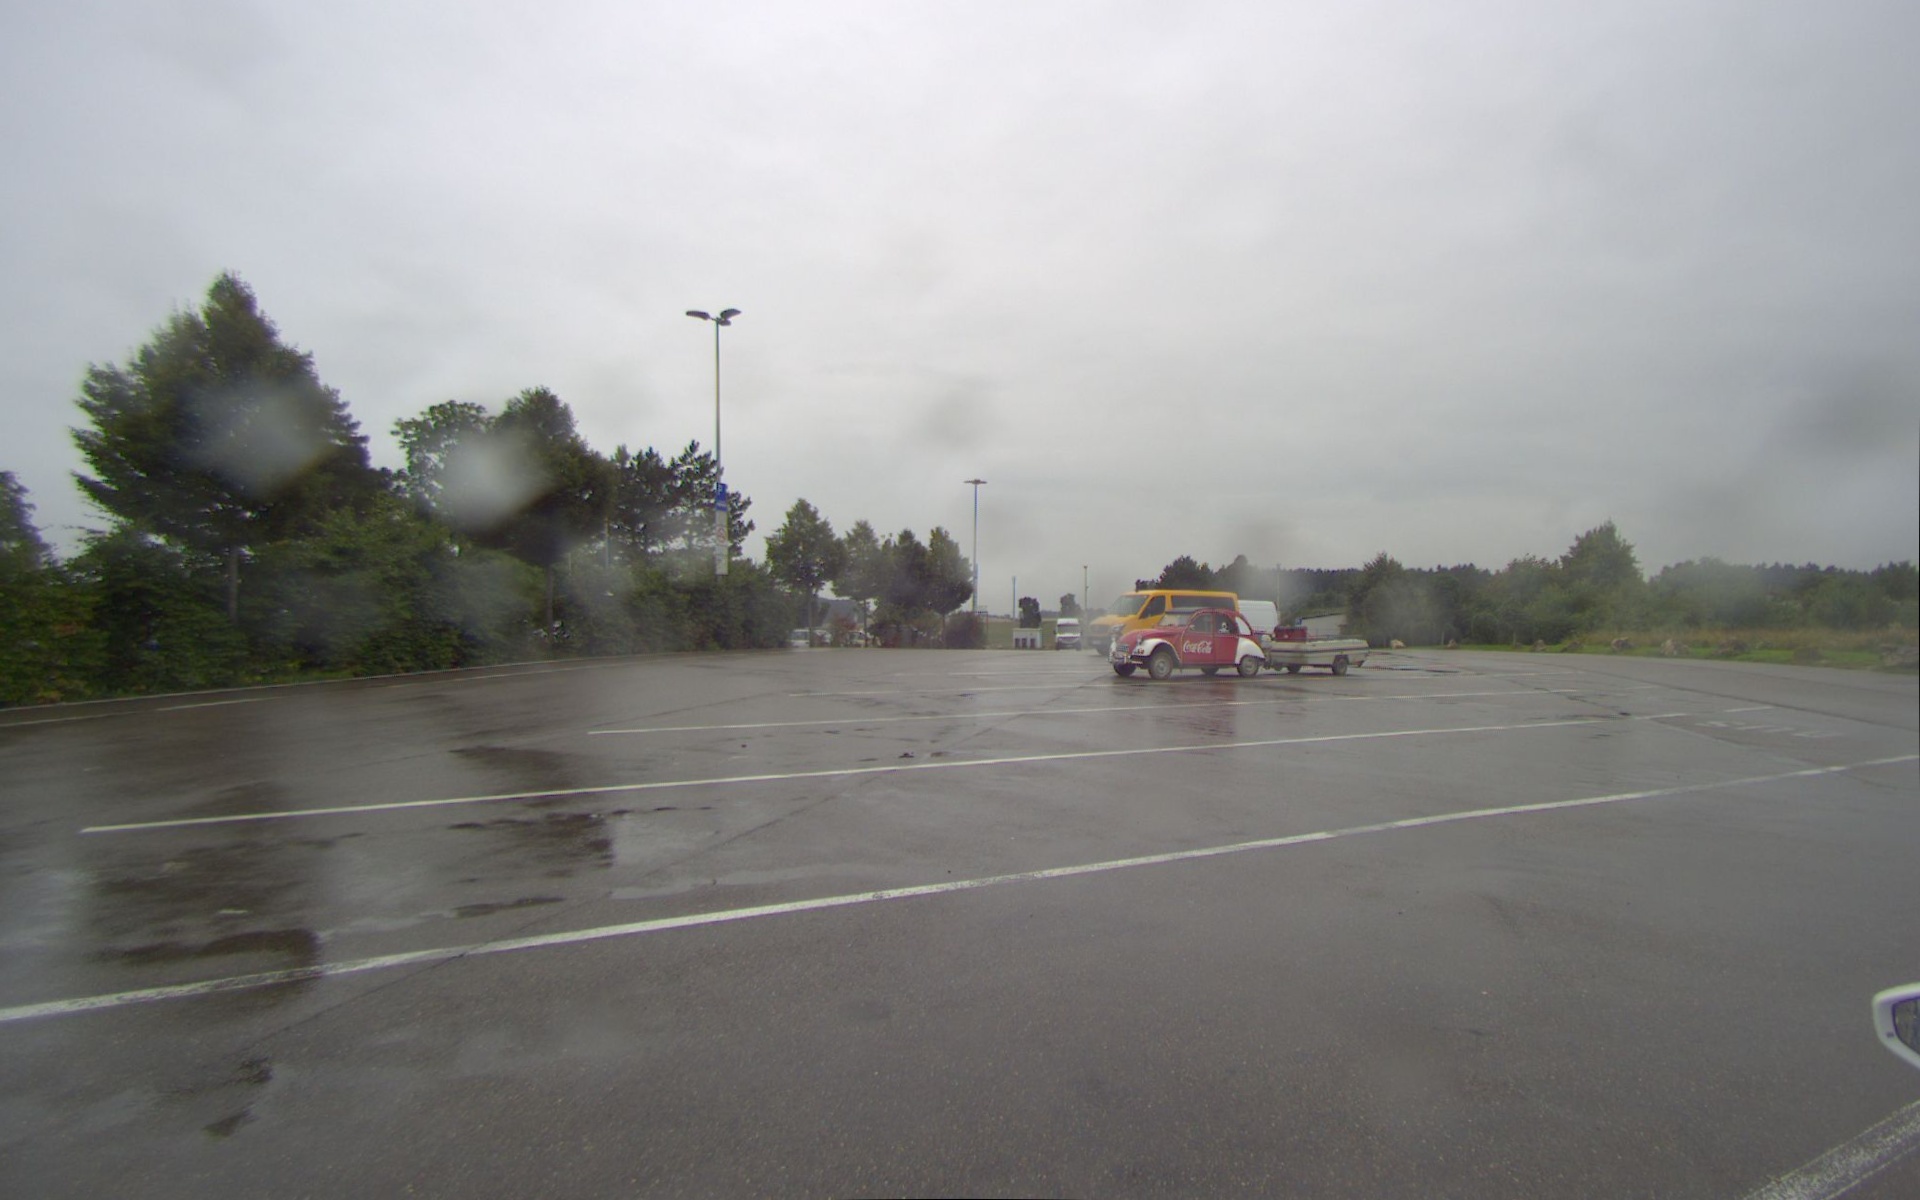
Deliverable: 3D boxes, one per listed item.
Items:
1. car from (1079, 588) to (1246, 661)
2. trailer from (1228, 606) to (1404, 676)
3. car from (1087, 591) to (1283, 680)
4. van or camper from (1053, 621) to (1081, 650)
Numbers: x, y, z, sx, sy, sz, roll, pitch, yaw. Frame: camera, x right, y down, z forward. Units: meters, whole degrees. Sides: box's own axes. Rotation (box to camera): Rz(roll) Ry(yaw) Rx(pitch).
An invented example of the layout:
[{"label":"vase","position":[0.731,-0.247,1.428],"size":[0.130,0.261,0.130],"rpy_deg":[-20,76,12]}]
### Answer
[{"label":"car","position":[7.192,0.924,35.438],"size":[5.955,2.411,1.985],"rpy_deg":[2,-3,-30]},{"label":"trailer","position":[8.445,0.943,23.776],"size":[3.948,1.553,1.689],"rpy_deg":[0,-2,-27]},{"label":"car","position":[4.925,0.773,21.973],"size":[3.948,1.800,1.816],"rpy_deg":[1,-2,-27]},{"label":"van or camper","position":[8.355,2.774,78.480],"size":[1.960,2.195,4.002],"rpy_deg":[0,-2,3]}]
